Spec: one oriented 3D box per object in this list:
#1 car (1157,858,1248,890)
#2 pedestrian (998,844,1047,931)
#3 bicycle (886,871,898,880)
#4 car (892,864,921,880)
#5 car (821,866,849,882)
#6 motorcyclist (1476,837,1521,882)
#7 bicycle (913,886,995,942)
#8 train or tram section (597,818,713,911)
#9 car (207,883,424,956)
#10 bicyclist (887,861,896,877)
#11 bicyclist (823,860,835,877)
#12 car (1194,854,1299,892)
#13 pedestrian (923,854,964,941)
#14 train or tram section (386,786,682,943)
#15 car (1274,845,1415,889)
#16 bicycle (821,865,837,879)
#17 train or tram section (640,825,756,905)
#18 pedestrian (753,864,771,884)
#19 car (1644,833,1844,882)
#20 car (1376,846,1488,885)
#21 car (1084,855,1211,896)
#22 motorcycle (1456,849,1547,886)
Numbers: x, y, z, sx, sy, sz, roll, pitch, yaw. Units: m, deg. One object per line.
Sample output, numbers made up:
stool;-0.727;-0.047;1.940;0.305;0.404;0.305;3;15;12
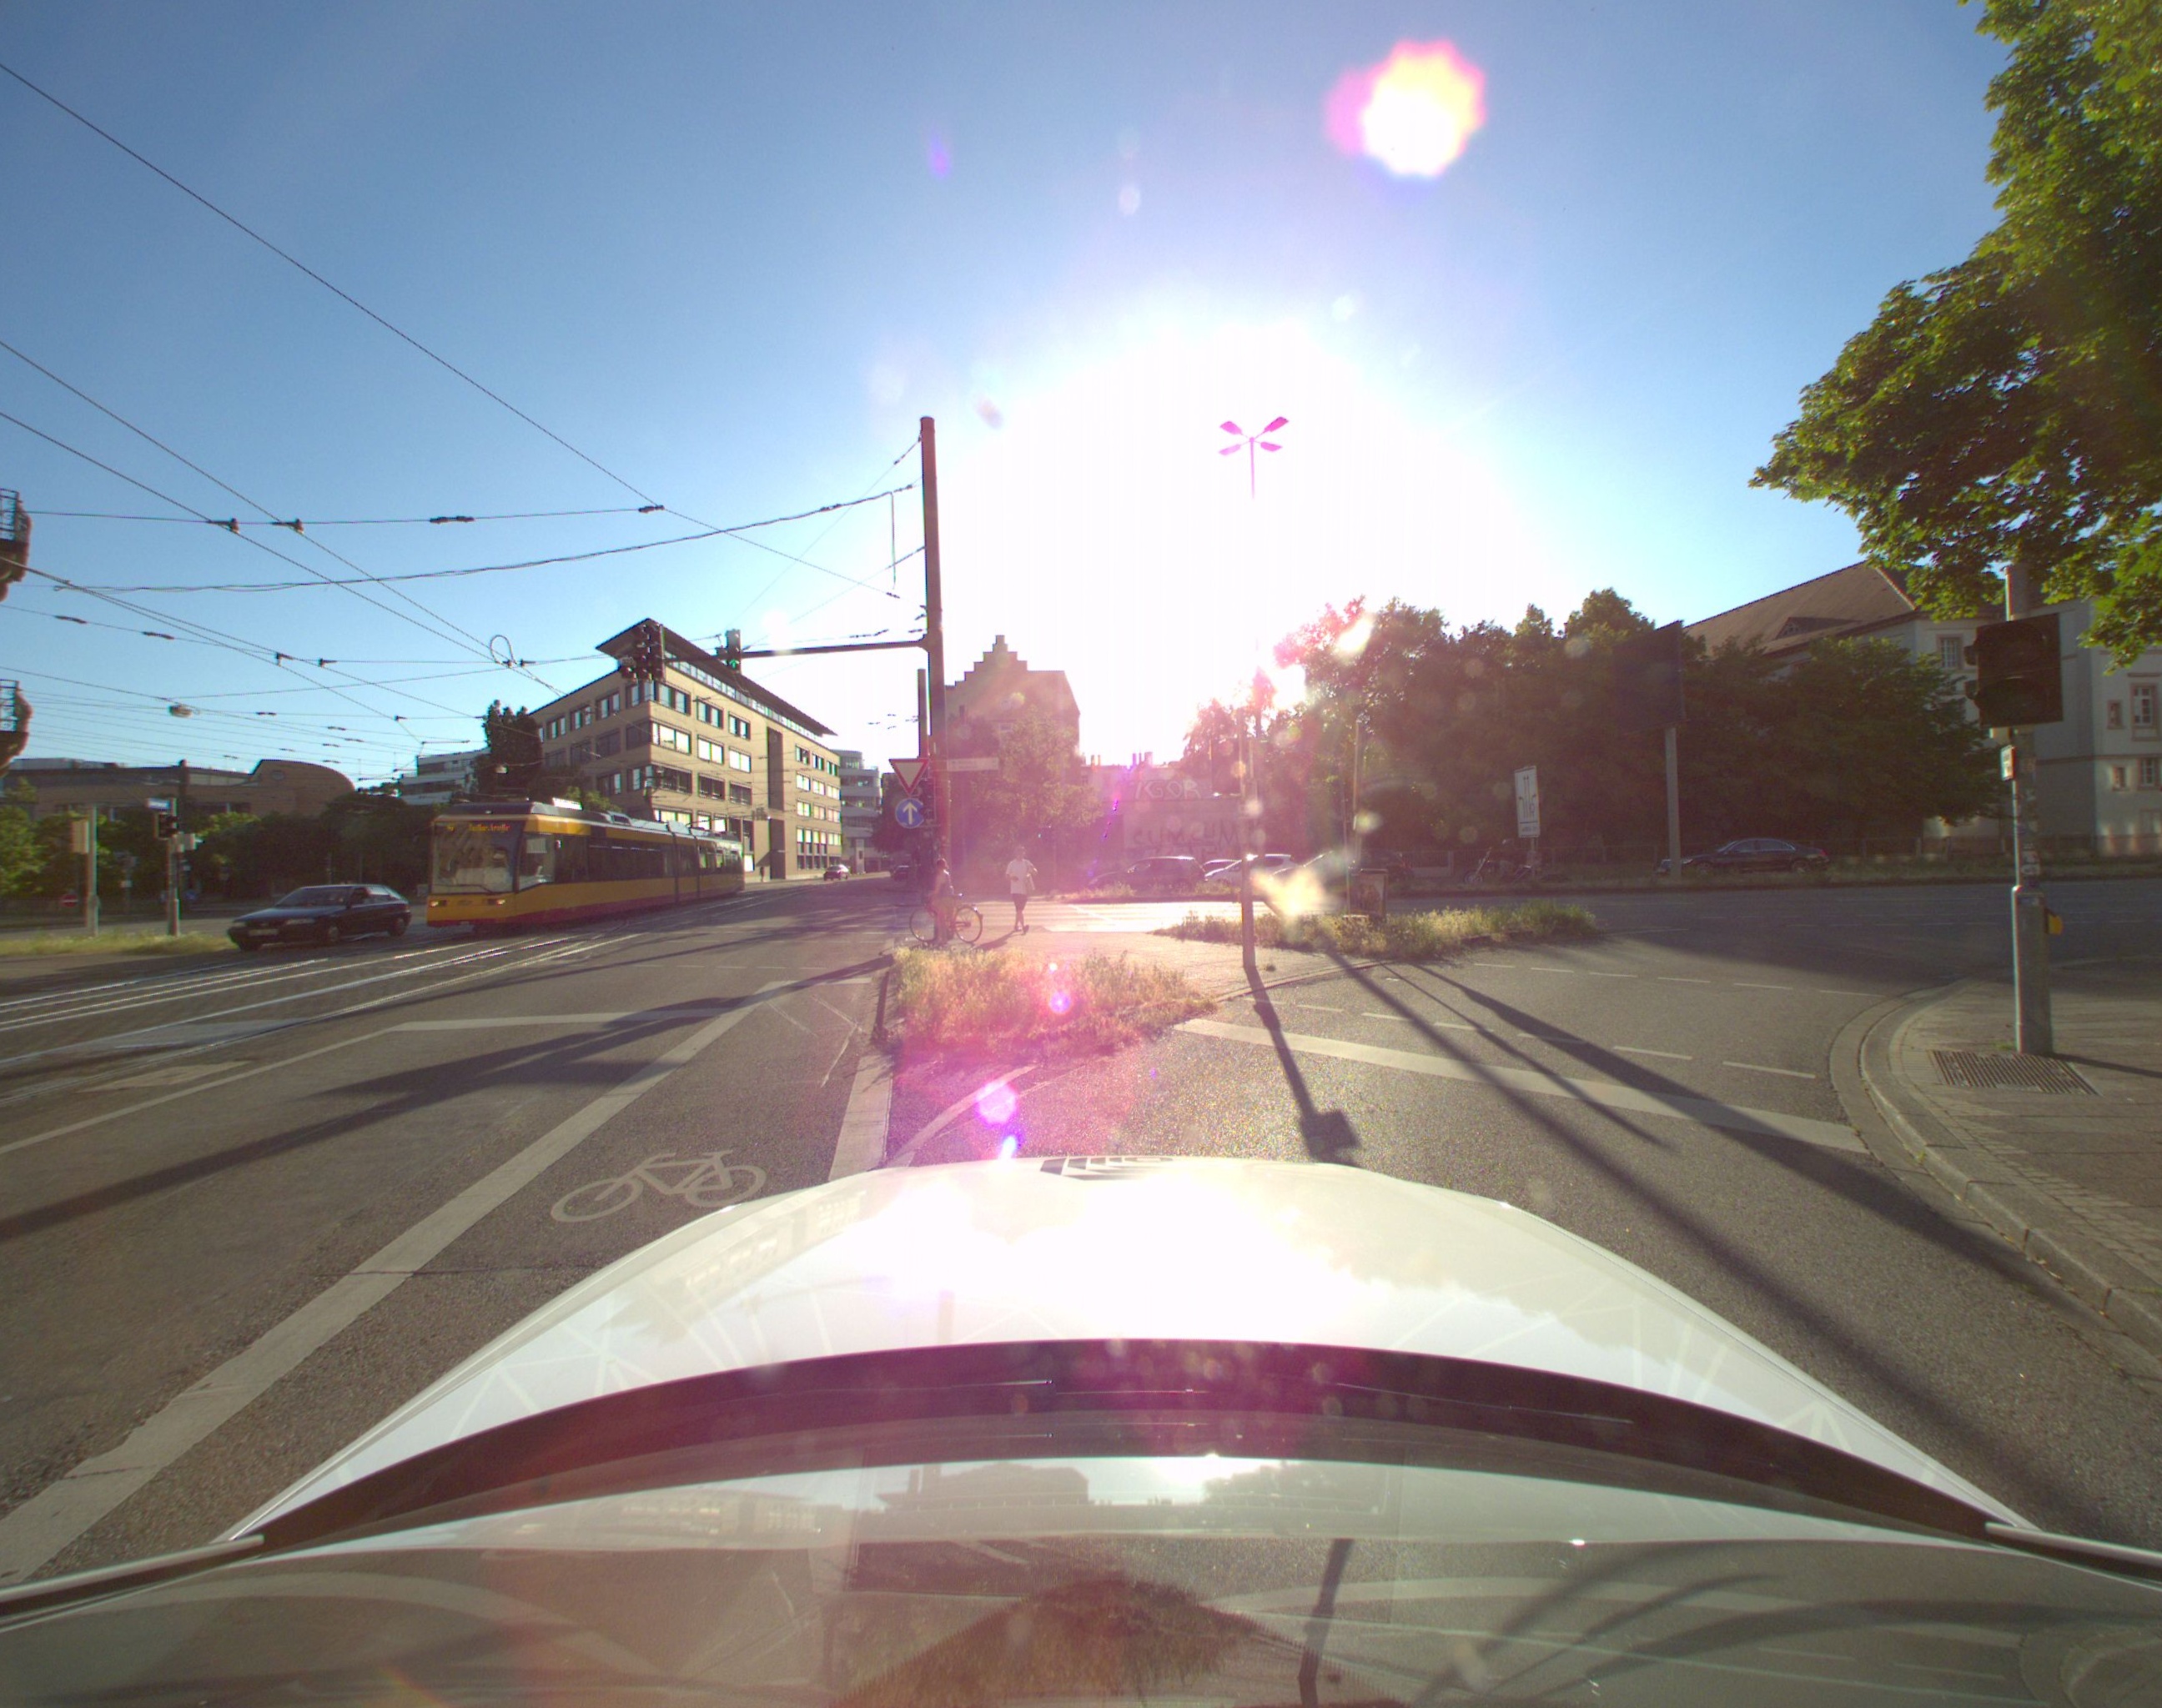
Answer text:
car;5.415;0.872;36.190;3.857;1.296;1.729;-2;-1;10
pedestrian;-1.274;0.702;17.543;0.909;1.789;0.824;-2;-1;-11
bicycle;-18.574;2.104;80.181;0.692;0.877;2.026;-2;-1;0
car;-16.652;1.718;77.815;1.779;1.388;4.000;-2;0;0
car;-26.925;2.220;89.251;1.811;1.614;4.462;-2;-1;-2
motorcyclist;13.489;0.178;26.348;1.051;1.398;0.857;-2;-1;12
bicycle;-2.462;1.142;15.683;1.650;1.029;0.402;-2;-1;31
train or tram section;-17.549;0.417;33.945;2.863;3.508;5.281;-2;-1;-12
car;-17.905;1.463;19.370;1.810;1.380;4.146;-2;-1;-11
bicyclist;-18.605;1.462;79.836;0.671;1.522;0.813;-2;-1;0
bicyclist;-30.170;1.727;97.652;1.026;2.014;1.246;0;-2;0
car;6.385;0.714;31.684;3.857;1.319;1.729;-2;-1;10
pedestrian;-2.639;0.831;15.641;0.519;1.631;0.492;-2;-1;31
train or tram section;-15.599;0.301;25.030;2.863;3.508;12.959;-2;-1;-12
car;8.750;0.433;27.346;4.333;1.296;1.730;-2;-1;12
bicycle;-30.167;2.164;97.611;1.026;1.651;2.560;-2;-1;1
train or tram section;-19.325;0.564;41.951;2.863;3.508;11.249;-2;-1;-12
pedestrian;-33.762;2.081;86.278;1.237;2.014;1.553;-2;-1;-2
car;23.330;0.128;28.848;5.248;1.496;2.003;-2;-1;6
car;14.819;0.470;34.589;3.967;1.464;1.863;-2;0;5
car;2.380;0.738;28.857;4.205;1.296;1.731;-2;-1;13
motorcycle;13.552;0.427;26.315;2.445;1.108;0.864;-2;-1;12
